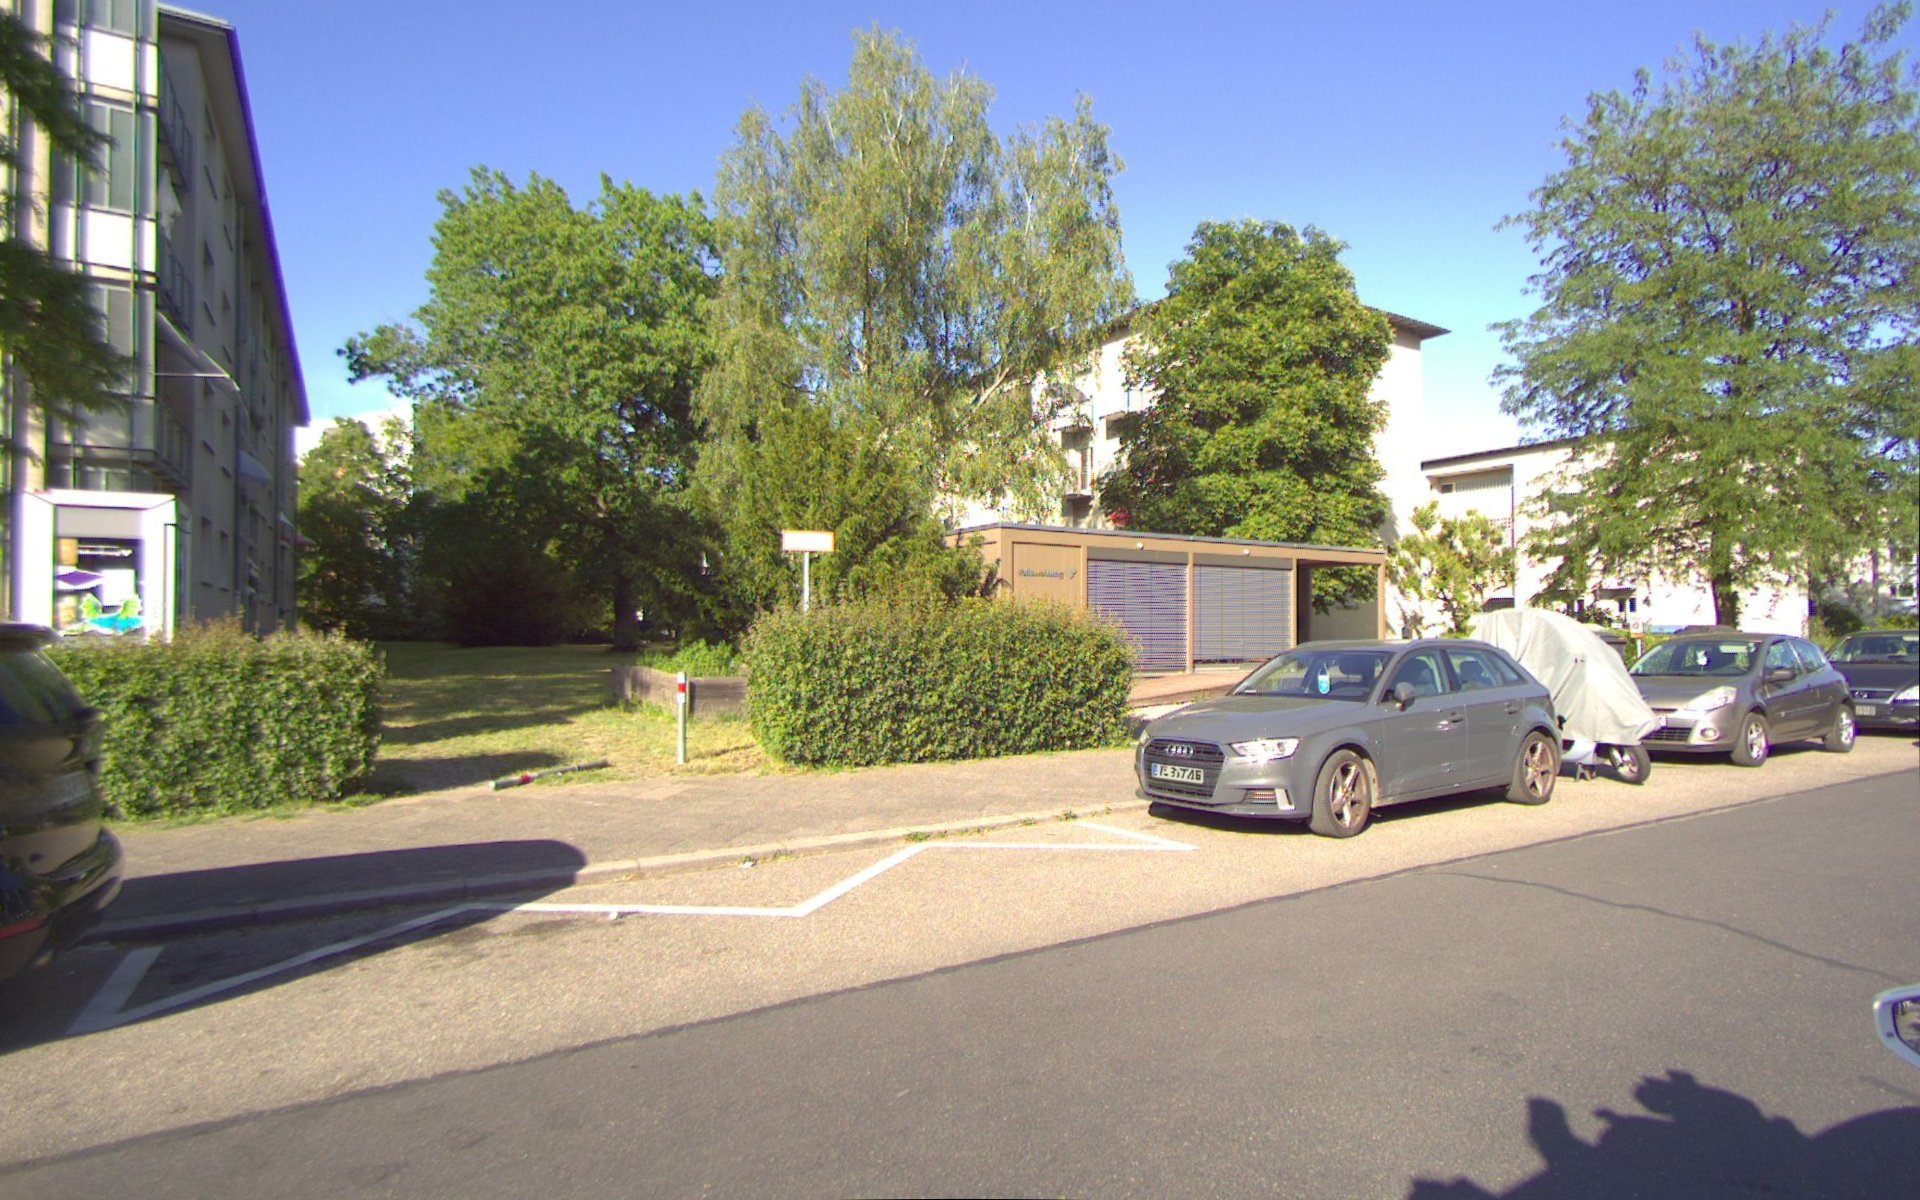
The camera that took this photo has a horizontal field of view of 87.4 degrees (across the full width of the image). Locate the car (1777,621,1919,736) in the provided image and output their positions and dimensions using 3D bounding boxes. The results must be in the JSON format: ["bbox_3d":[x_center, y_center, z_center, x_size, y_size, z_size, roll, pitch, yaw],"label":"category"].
[{"bbox_3d":[14.470,1.170,15.564,3.681,1.594,1.744,1,-4,-34],"label":"car"}]

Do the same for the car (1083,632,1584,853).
[{"bbox_3d":[3.243,1.023,8.480,4.222,1.439,1.745,1,-4,-32],"label":"car"}]

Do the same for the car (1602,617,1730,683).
[{"bbox_3d":[19.180,1.307,27.237,3.959,1.663,1.561,1,-1,-34],"label":"car"}]

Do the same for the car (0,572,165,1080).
[{"bbox_3d":[-5.261,0.754,2.986,4.322,1.656,1.745,1,-4,-32],"label":"car"}]

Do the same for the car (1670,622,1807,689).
[{"bbox_3d":[19.542,1.339,25.169,3.959,1.545,1.561,1,-1,-34],"label":"car"}]

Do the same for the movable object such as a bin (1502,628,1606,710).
[{"bbox_3d":[10.963,1.240,18.549,1.328,1.426,1.171,1,-1,-31],"label":"movable object such as a bin"}]

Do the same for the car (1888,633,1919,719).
[{"bbox_3d":[18.833,1.336,18.313,4.489,1.500,1.744,1,-4,-33],"label":"car"}]

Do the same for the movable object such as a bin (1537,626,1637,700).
[{"bbox_3d":[12.106,1.182,19.406,1.327,1.358,1.172,1,-1,-30],"label":"movable object such as a bin"}]

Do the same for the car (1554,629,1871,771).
[{"bbox_3d":[9.363,1.145,12.461,3.913,1.500,1.746,1,-4,-31],"label":"car"}]

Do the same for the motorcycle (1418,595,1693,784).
[{"bbox_3d":[6.149,0.911,10.530,0.923,1.749,2.243,1,-4,-34],"label":"motorcycle"}]

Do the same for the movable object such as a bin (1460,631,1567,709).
[{"bbox_3d":[9.806,1.209,17.820,1.328,1.305,1.171,1,-1,-31],"label":"movable object such as a bin"}]
